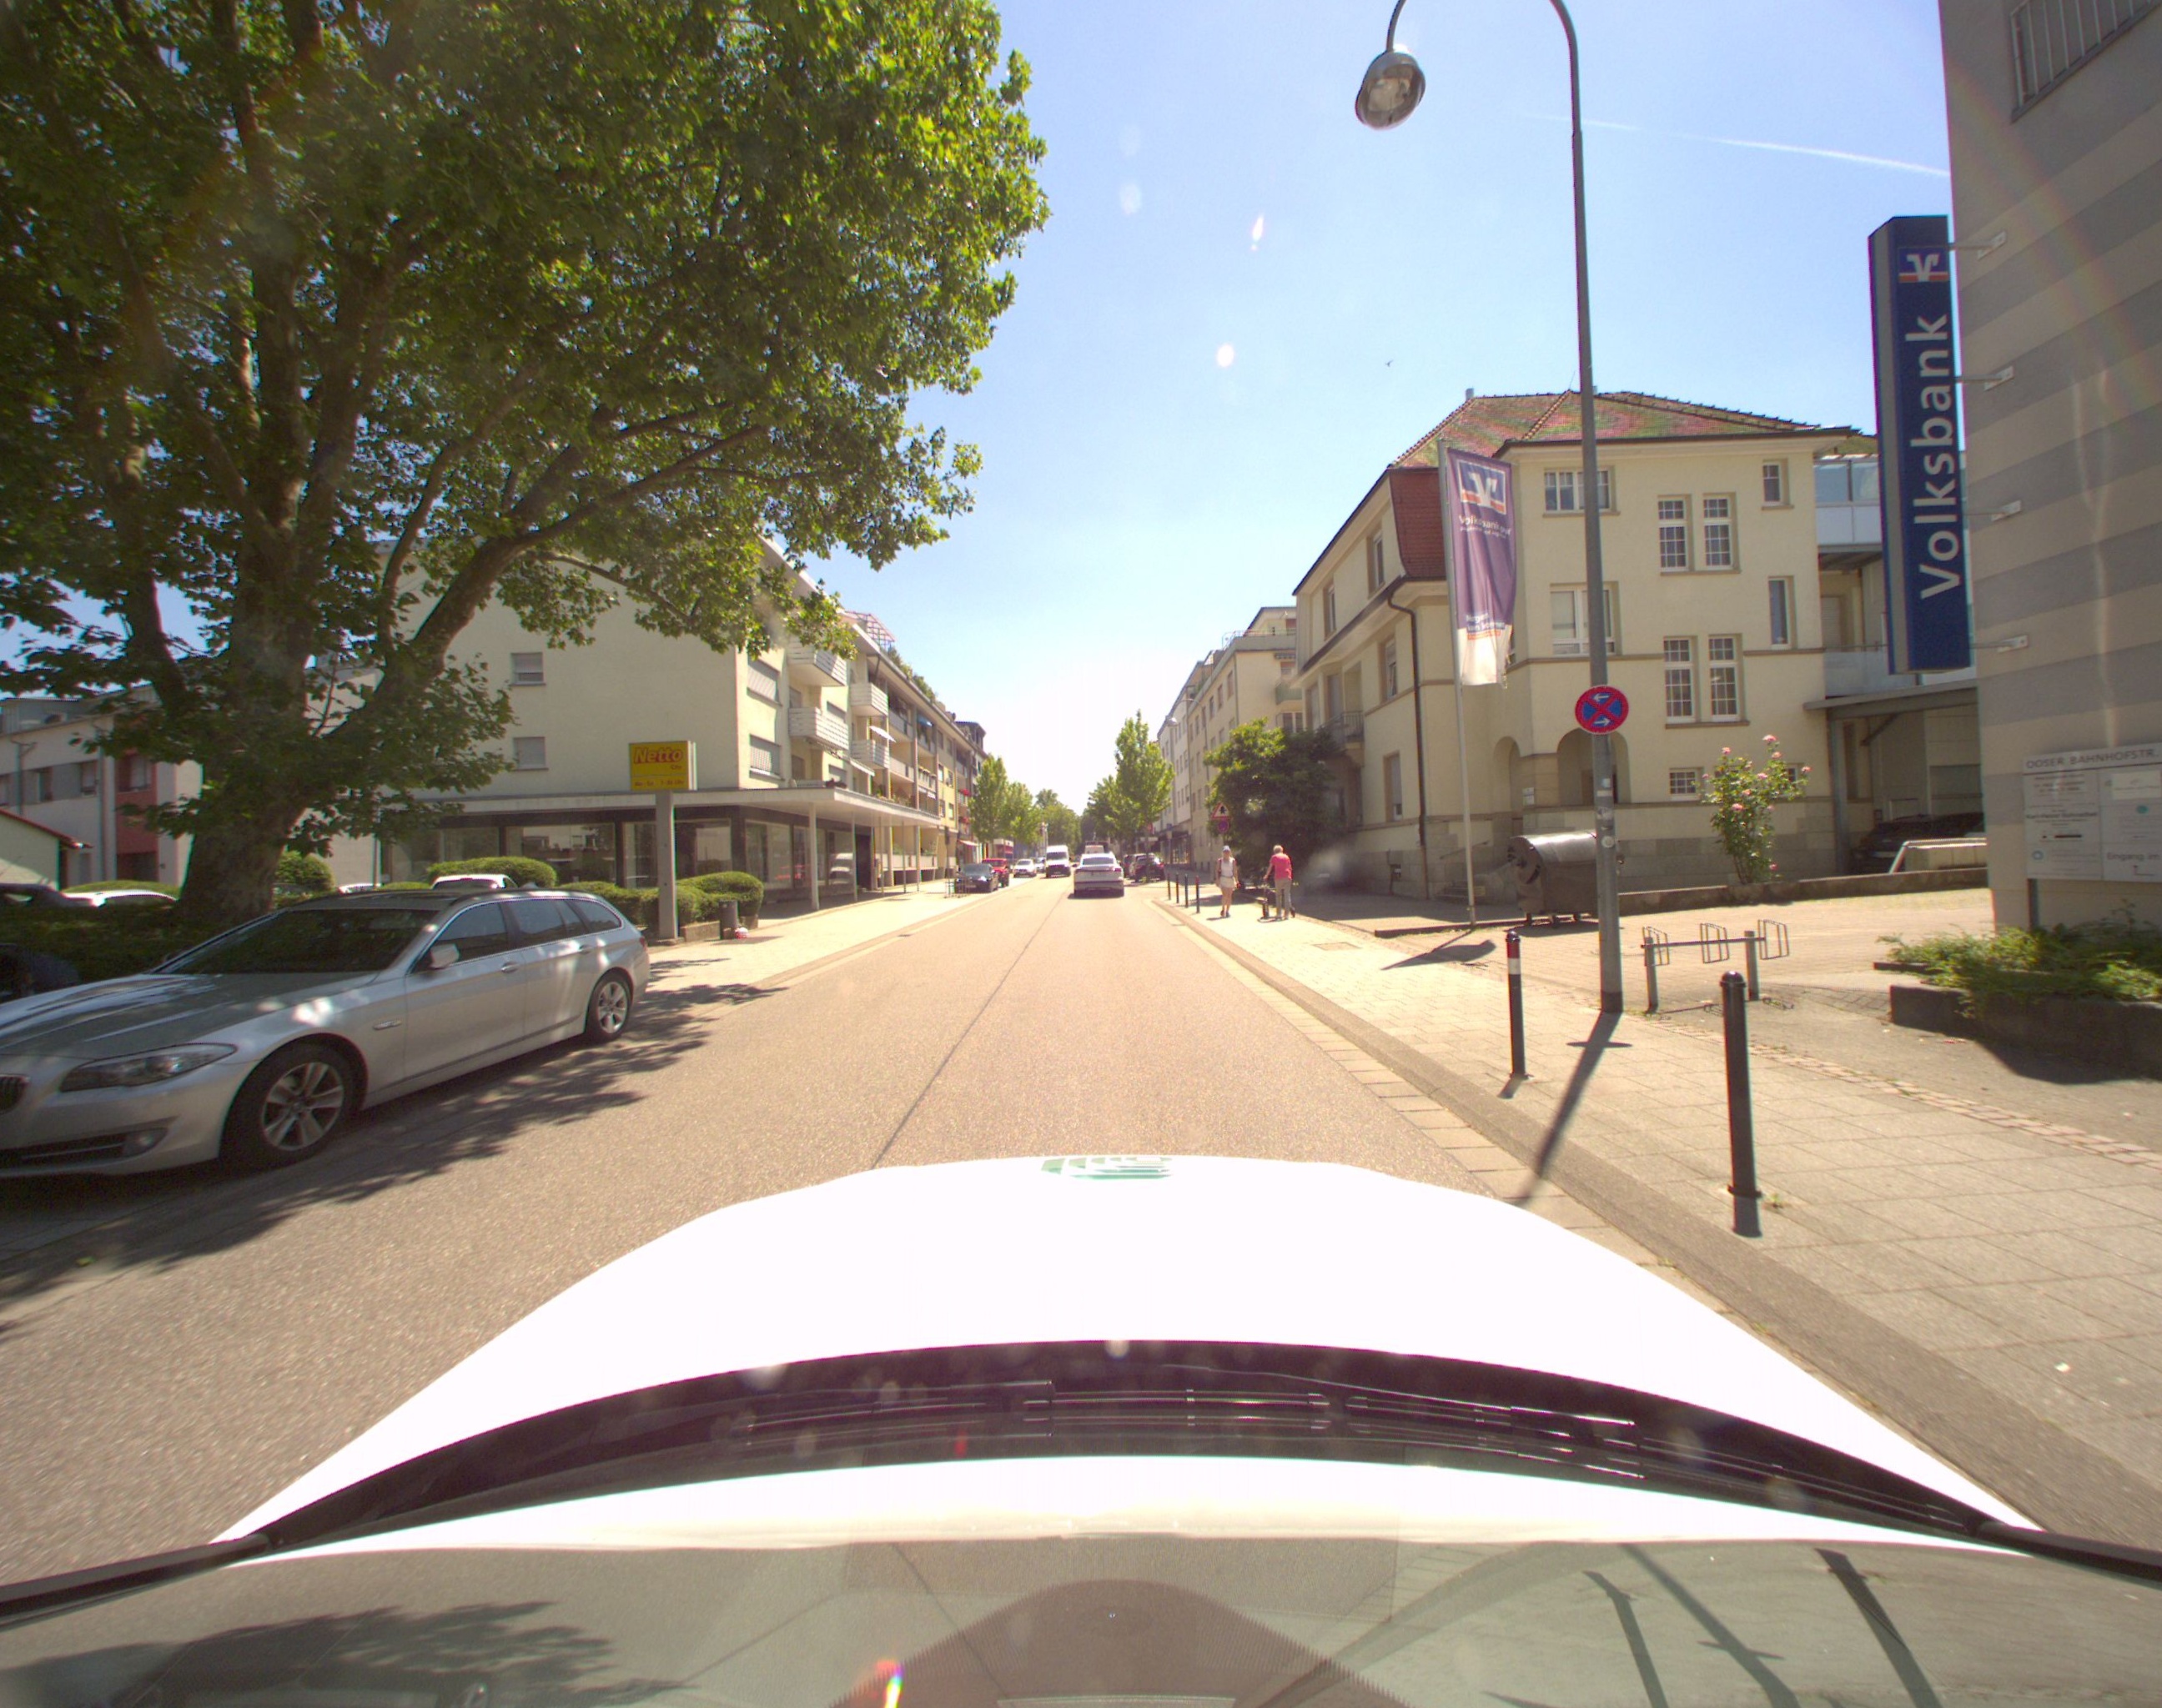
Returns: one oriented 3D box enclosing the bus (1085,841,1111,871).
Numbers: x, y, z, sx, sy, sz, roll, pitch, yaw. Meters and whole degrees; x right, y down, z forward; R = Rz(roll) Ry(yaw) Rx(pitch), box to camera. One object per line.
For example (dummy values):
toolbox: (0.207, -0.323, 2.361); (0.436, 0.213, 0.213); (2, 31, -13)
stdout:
bus: (1.931, 0.227, 90.529); (2.649, 3.221, 7.307); (0, -1, 3)

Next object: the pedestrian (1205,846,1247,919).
pedestrian: (3.400, 0.650, 19.156); (0.698, 1.626, 0.783); (-5, -1, -1)

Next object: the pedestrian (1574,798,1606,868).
pedestrian: (12.300, -0.499, 19.701); (0.587, 1.658, 0.743); (-2, -1, 32)

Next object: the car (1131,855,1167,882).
car: (4.030, 0.812, 48.531); (1.889, 1.438, 4.547); (-2, 0, 2)

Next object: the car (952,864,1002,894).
car: (-5.188, 1.233, 41.342); (1.890, 1.417, 5.047); (0, 0, 0)

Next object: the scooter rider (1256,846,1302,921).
scooter rider: (4.296, 0.634, 17.703); (0.714, 1.548, 0.770); (-3, 0, -2)

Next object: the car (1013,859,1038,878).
car: (-4.802, 1.220, 71.128); (1.746, 1.618, 4.402); (0, 0, 2)

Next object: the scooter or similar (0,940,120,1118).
scooter or similar: (-7.435, 1.186, 5.497); (0.661, 1.098, 1.029); (0, 0, 2)

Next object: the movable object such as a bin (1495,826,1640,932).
movable object such as a bin: (7.581, 0.377, 12.802); (1.362, 1.458, 1.381); (-5, -1, 2)

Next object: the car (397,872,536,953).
car: (-13.332, 1.184, 17.914); (1.903, 1.486, 3.957); (-2, 0, -30)

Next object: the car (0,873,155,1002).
car: (-14.335, 1.096, 9.586); (1.794, 1.545, 4.120); (-3, 0, 13)

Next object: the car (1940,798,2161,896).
car: (18.816, -0.172, 14.888); (3.963, 1.607, 1.816); (-3, -1, 9)

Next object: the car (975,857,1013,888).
car: (-5.077, 1.045, 47.818); (1.747, 1.702, 4.101); (0, 0, 0)

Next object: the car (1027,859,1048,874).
car: (-4.362, 1.213, 81.995); (1.745, 1.453, 4.403); (0, 0, 2)

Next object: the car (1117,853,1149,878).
car: (3.780, 0.808, 60.017); (1.851, 1.674, 4.533); (-4, 0, -2)

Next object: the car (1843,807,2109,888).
car: (18.787, -0.141, 17.223); (3.721, 1.491, 1.752); (-2, 0, -1)

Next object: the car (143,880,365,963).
car: (-18.308, 1.410, 18.312); (1.749, 1.462, 3.907); (-3, 0, -16)

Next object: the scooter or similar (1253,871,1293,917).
scooter or similar: (4.326, 0.893, 18.385); (0.661, 0.963, 0.754); (-3, 0, 0)

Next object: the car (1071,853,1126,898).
car: (0.633, 0.789, 32.088); (1.987, 1.633, 3.999); (-1, 0, -1)

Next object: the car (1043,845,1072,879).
car: (-1.902, 0.644, 68.603); (2.030, 2.630, 7.107); (-4, 0, 0)

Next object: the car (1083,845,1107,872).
car: (1.293, 0.432, 76.863); (2.148, 2.442, 5.284); (0, -1, 1)

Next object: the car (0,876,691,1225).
car: (-5.234, 0.975, 6.269); (1.975, 1.452, 5.149); (-1, 0, 0)

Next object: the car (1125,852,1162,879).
car: (4.145, 0.751, 54.673); (1.891, 1.674, 4.687); (-4, 0, -2)

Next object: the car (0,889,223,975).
car: (-20.643, 1.569, 17.391); (1.779, 1.434, 4.002); (-4, 0, -25)
